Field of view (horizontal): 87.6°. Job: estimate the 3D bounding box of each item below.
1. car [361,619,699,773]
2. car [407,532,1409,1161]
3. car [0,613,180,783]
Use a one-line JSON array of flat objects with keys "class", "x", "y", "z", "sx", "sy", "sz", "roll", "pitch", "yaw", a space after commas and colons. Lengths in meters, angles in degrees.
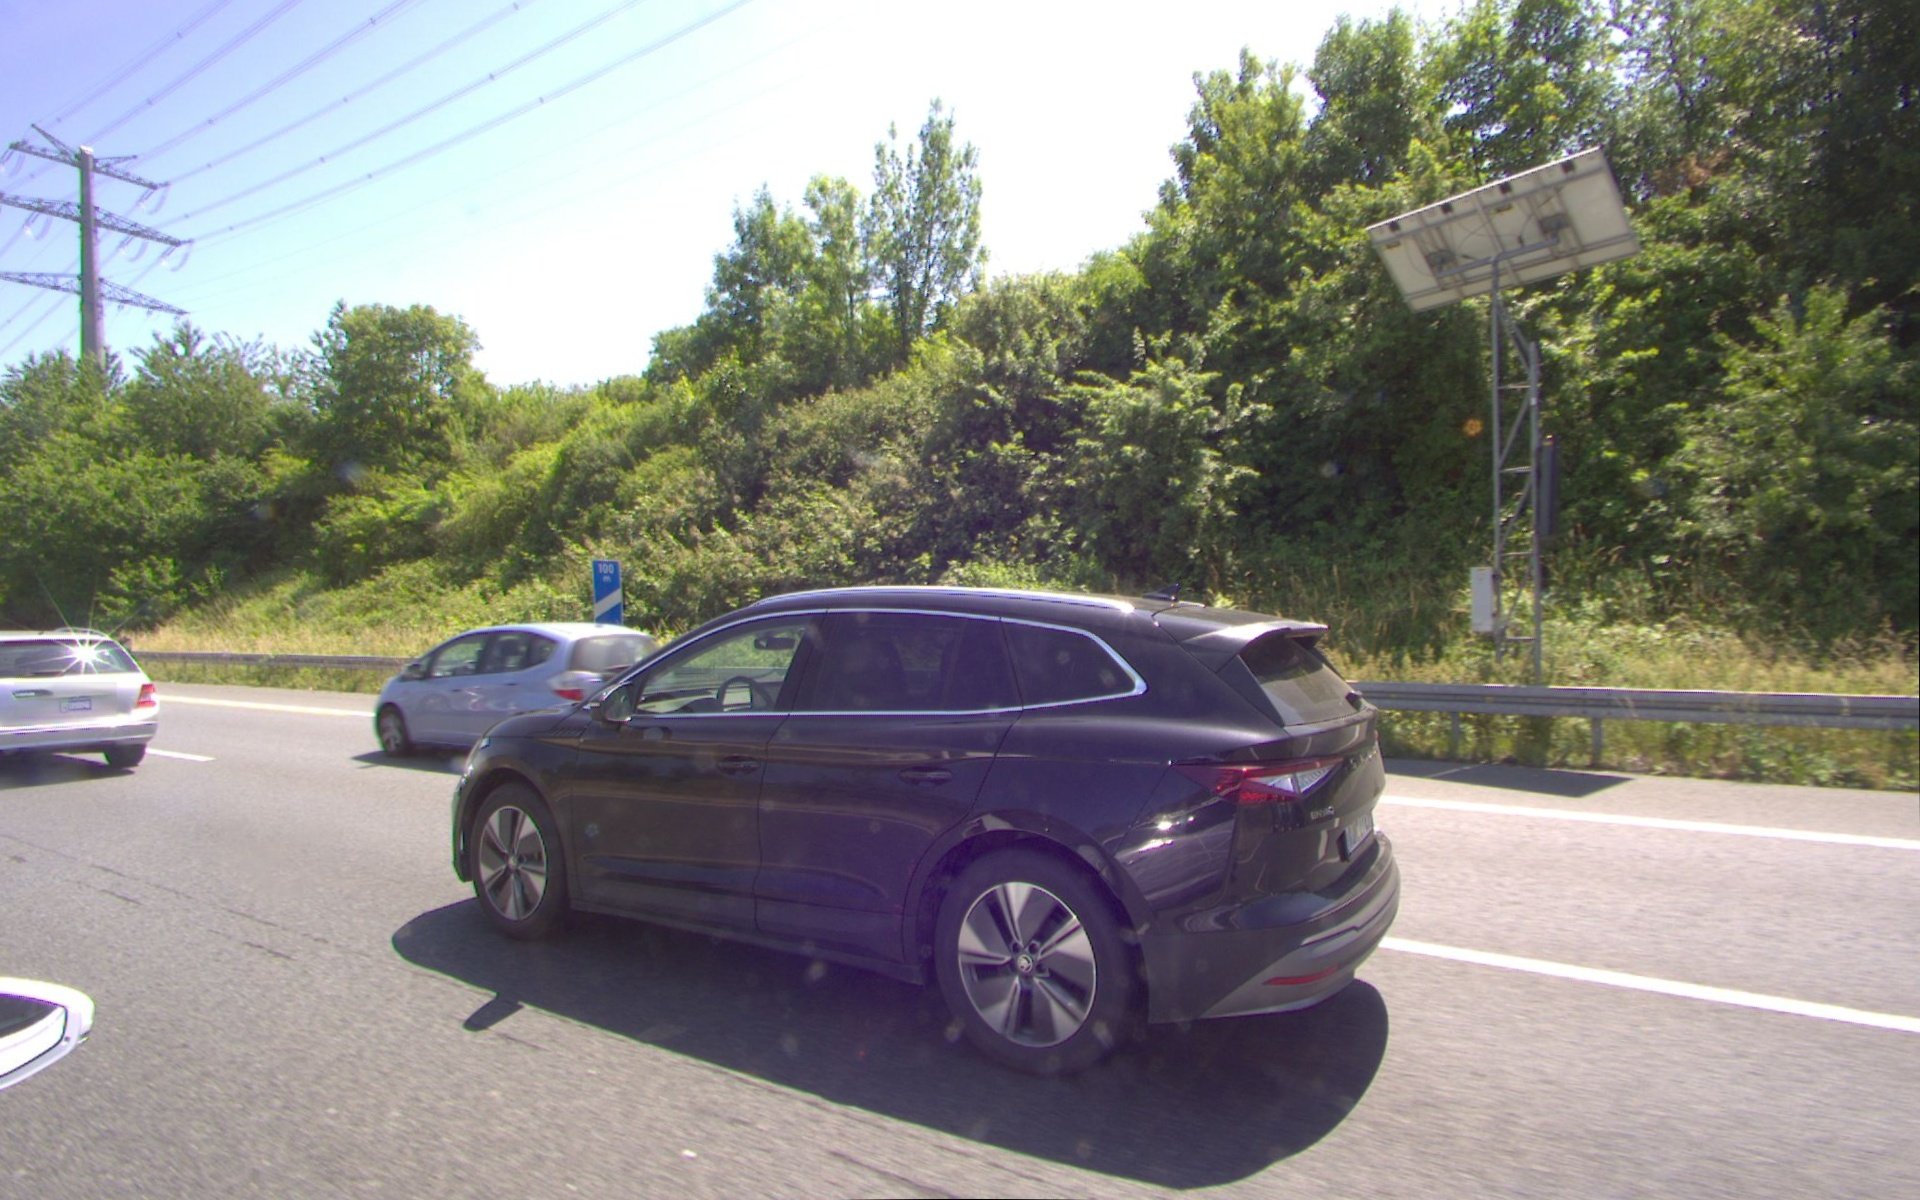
[{"class": "car", "x": -4.880, "y": 0.973, "z": 11.257, "sx": 3.734, "sy": 1.466, "sz": 1.698, "roll": -1, "pitch": -2, "yaw": 32}, {"class": "car", "x": -0.443, "y": 0.720, "z": 4.552, "sx": 4.365, "sy": 1.676, "sz": 1.698, "roll": -1, "pitch": -2, "yaw": 31}, {"class": "car", "x": -10.281, "y": 0.941, "z": 10.631, "sx": 4.297, "sy": 1.537, "sz": 1.768, "roll": -1, "pitch": -2, "yaw": 32}]
